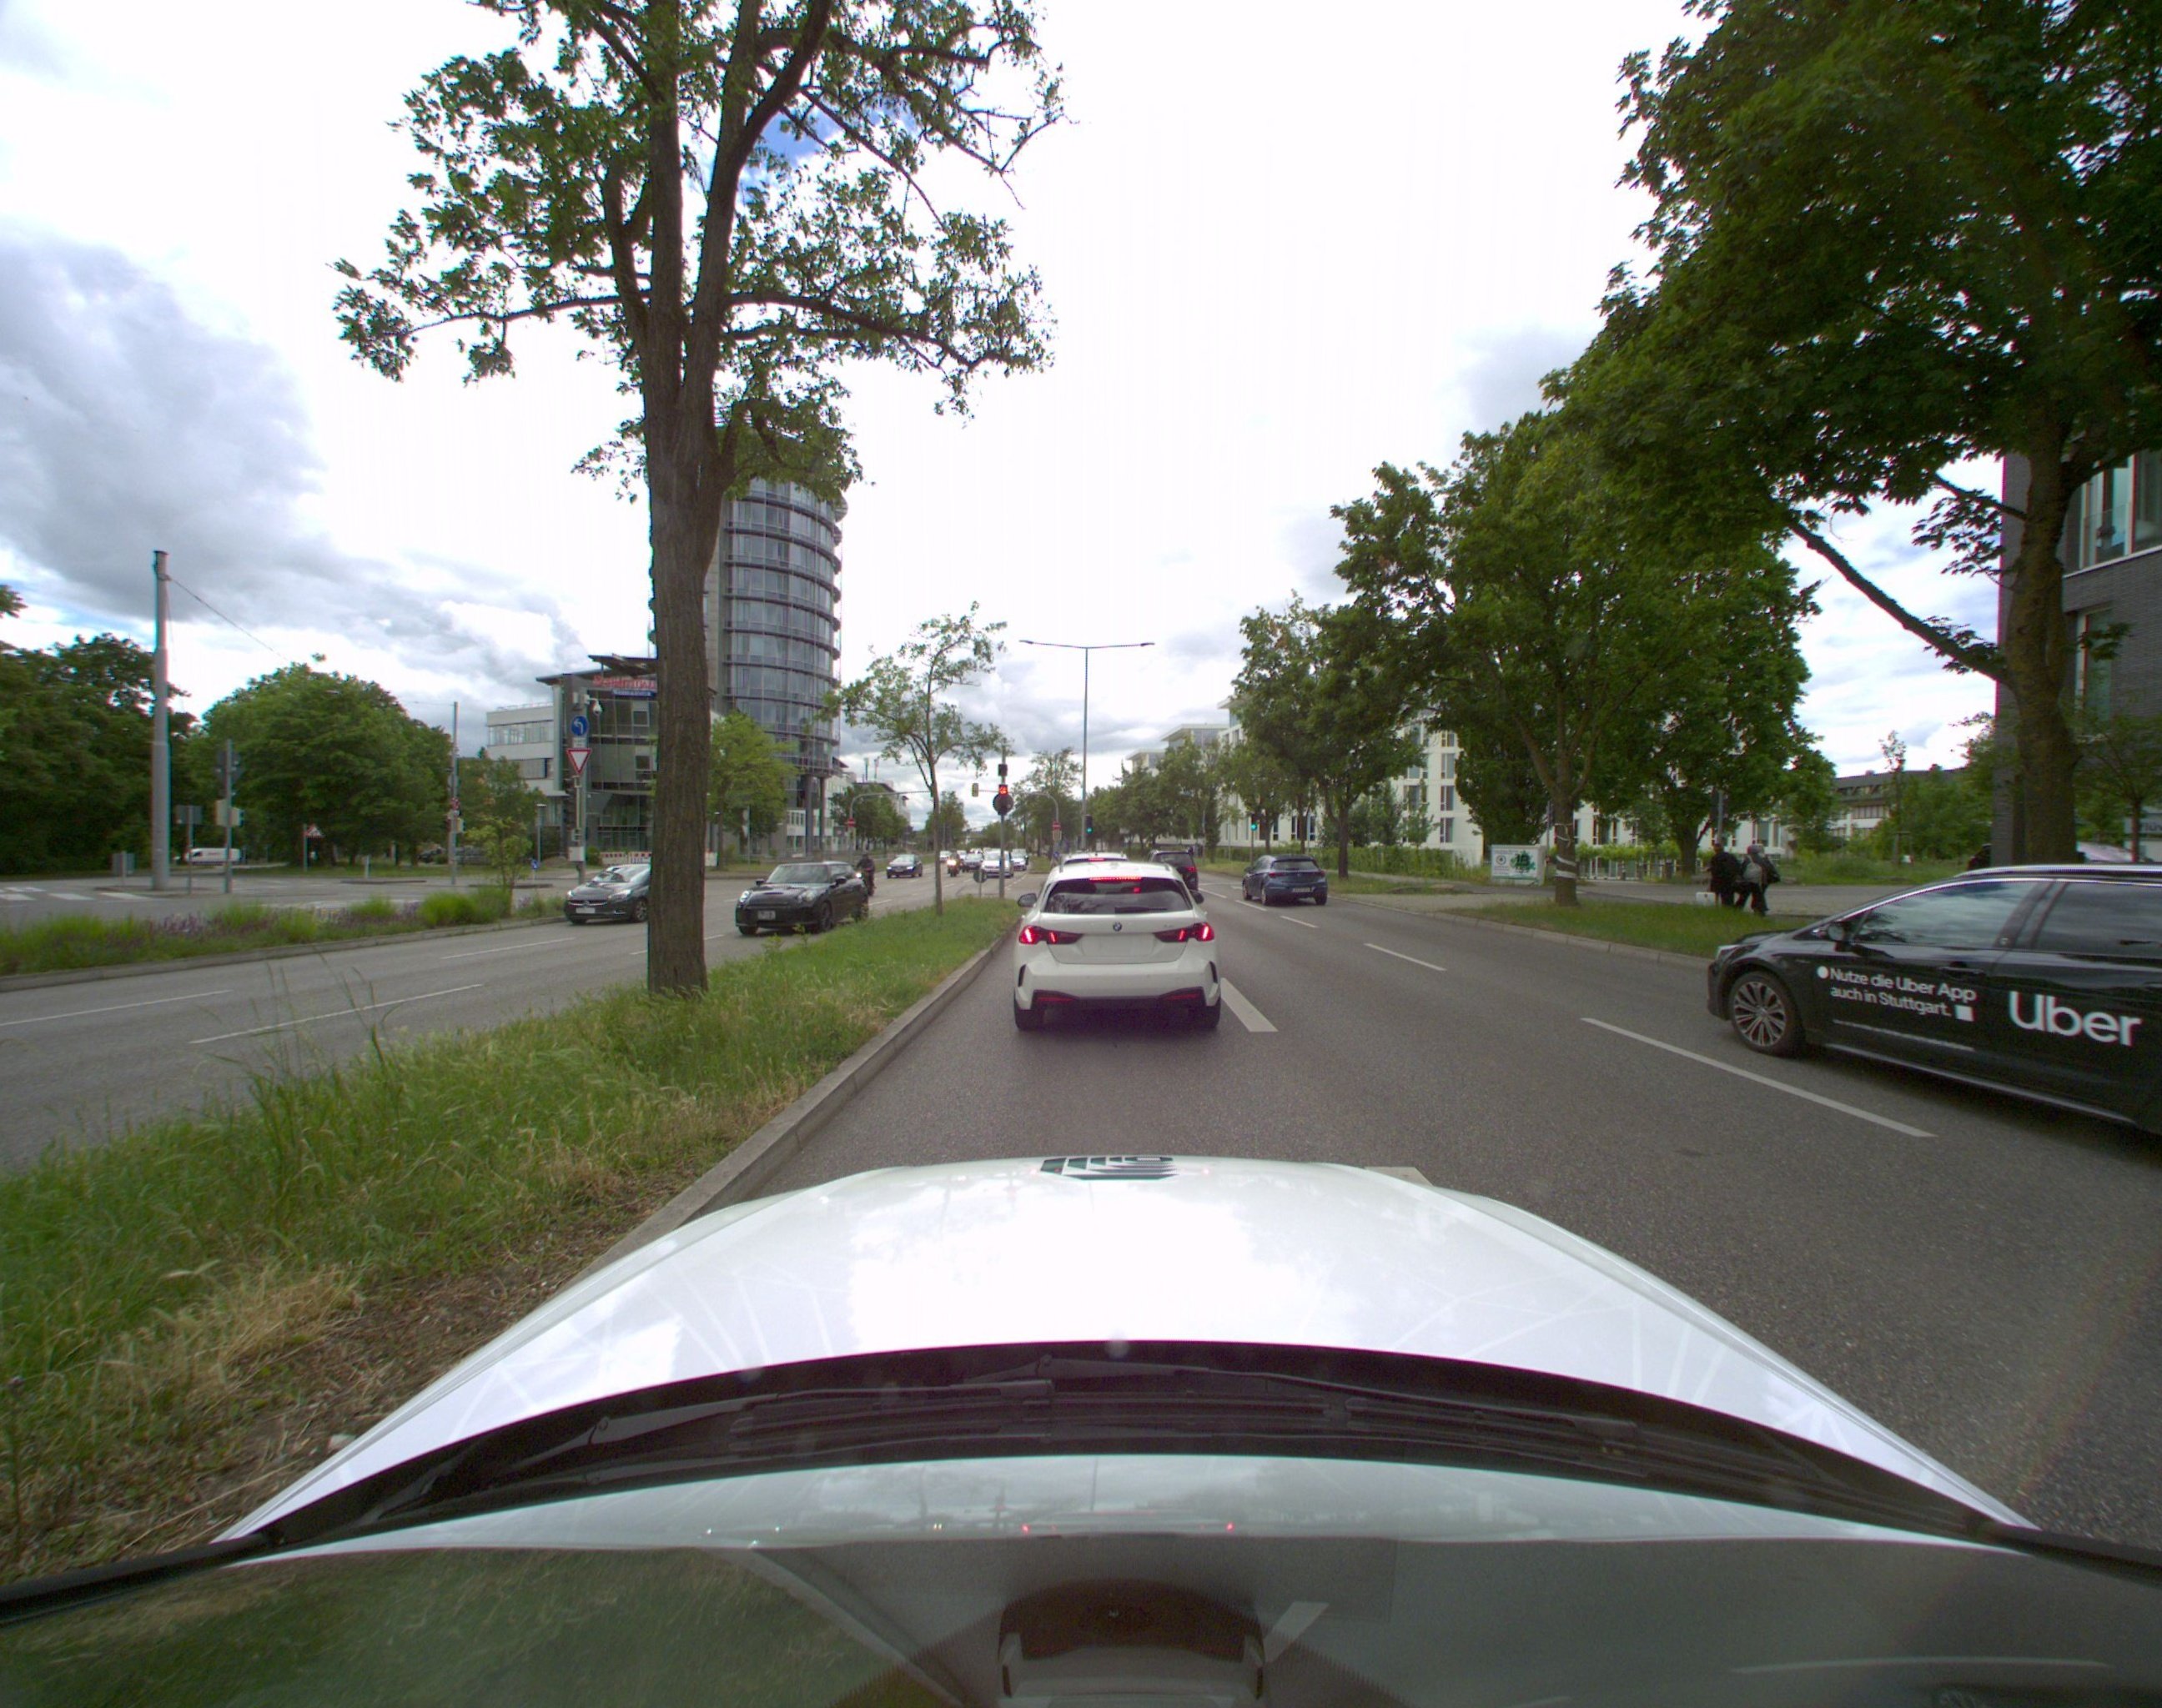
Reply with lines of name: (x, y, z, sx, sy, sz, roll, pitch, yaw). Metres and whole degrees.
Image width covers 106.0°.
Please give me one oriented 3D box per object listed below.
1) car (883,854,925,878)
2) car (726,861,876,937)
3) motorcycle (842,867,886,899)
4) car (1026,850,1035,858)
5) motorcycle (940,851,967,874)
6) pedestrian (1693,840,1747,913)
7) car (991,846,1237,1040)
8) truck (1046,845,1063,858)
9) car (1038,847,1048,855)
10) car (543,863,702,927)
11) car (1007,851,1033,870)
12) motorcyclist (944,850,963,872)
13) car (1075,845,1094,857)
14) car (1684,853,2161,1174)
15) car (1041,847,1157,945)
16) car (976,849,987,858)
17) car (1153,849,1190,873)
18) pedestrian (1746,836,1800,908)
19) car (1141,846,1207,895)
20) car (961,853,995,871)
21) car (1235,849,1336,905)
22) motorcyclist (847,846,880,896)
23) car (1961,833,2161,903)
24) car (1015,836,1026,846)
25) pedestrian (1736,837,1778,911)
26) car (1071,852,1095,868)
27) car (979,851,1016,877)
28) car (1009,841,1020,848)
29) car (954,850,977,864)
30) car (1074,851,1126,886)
car: (-11.093, 0.707, 51.333, 1.701, 1.419, 3.804, -1, 0, 2)
car: (-5.761, 0.856, 17.251, 1.747, 1.371, 3.781, -1, 0, 2)
motorcycle: (-8.041, 1.051, 30.315, 0.835, 1.064, 2.654, 0, 0, 2)
car: (-12.772, -0.027, 207.236, 1.986, 2.013, 4.002, 0, 0, 2)
motorcycle: (-7.986, 0.511, 51.214, 0.886, 1.398, 4.002, 0, 0, 2)
pedestrian: (13.836, 0.470, 17.646, 0.721, 1.552, 0.588, 0, 0, 7)
car: (0.391, 0.677, 8.137, 1.855, 1.449, 4.004, 0, 0, 4)
truck: (-5.246, -0.410, 160.768, 2.855, 2.519, 6.275, 0, 0, -6)
car: (-8.262, -0.652, 177.059, 1.991, 1.508, 3.993, 0, 0, -5)
car: (-11.575, 0.974, 20.916, 1.701, 1.419, 4.020, -1, 0, 2)
car: (-4.750, 0.508, 64.029, 1.661, 1.405, 4.002, 0, 0, 2)
motorcyclist: (-7.989, 0.423, 51.071, 0.906, 1.392, 1.674, 0, 0, 2)
car: (0.438, -0.362, 111.145, 1.993, 1.596, 3.987, 0, 0, -9)
car: (5.773, 0.726, 4.462, 1.758, 1.449, 4.421, 0, 0, 1)
car: (0.397, 0.733, 15.958, 1.985, 1.672, 4.003, 0, 0, 3)
car: (-22.732, -0.103, 186.377, 1.988, 2.011, 4.322, 0, 0, -1)
car: (5.801, 0.466, 52.742, 1.789, 1.472, 4.696, 0, 0, -2)
pedestrian: (15.178, 0.389, 17.875, 0.586, 1.552, 0.745, 0, 0, 7)
car: (3.307, 0.551, 29.696, 1.960, 1.640, 4.313, -1, 0, 1)
car: (-7.827, 0.604, 62.242, 1.986, 1.354, 4.002, 0, 0, 2)
car: (5.995, 0.622, 24.356, 1.960, 1.439, 4.313, -2, 0, 1)
motorcyclist: (-8.048, 0.618, 30.188, 0.845, 1.837, 1.260, 0, 0, 2)
car: (24.880, 0.304, 20.191, 1.817, 1.552, 4.183, 0, 0, 4)
car: (-13.006, -2.779, 174.889, 1.988, 2.011, 4.322, 2, 0, -1)
pedestrian: (14.499, 0.422, 17.476, 0.407, 1.552, 0.563, 3, -1, 7)
car: (0.193, 0.605, 87.216, 2.050, 1.486, 4.964, -4, 1, -5)
car: (-4.995, 0.556, 49.053, 1.701, 1.497, 3.804, -1, 0, 2)
car: (-15.620, -2.150, 192.057, 1.986, 1.618, 4.002, 2, 0, 2)
car: (-12.298, 0.340, 86.845, 1.701, 1.419, 3.804, -1, 0, 2)
car: (0.925, 0.620, 37.261, 1.983, 1.508, 4.008, 0, 0, 7)
